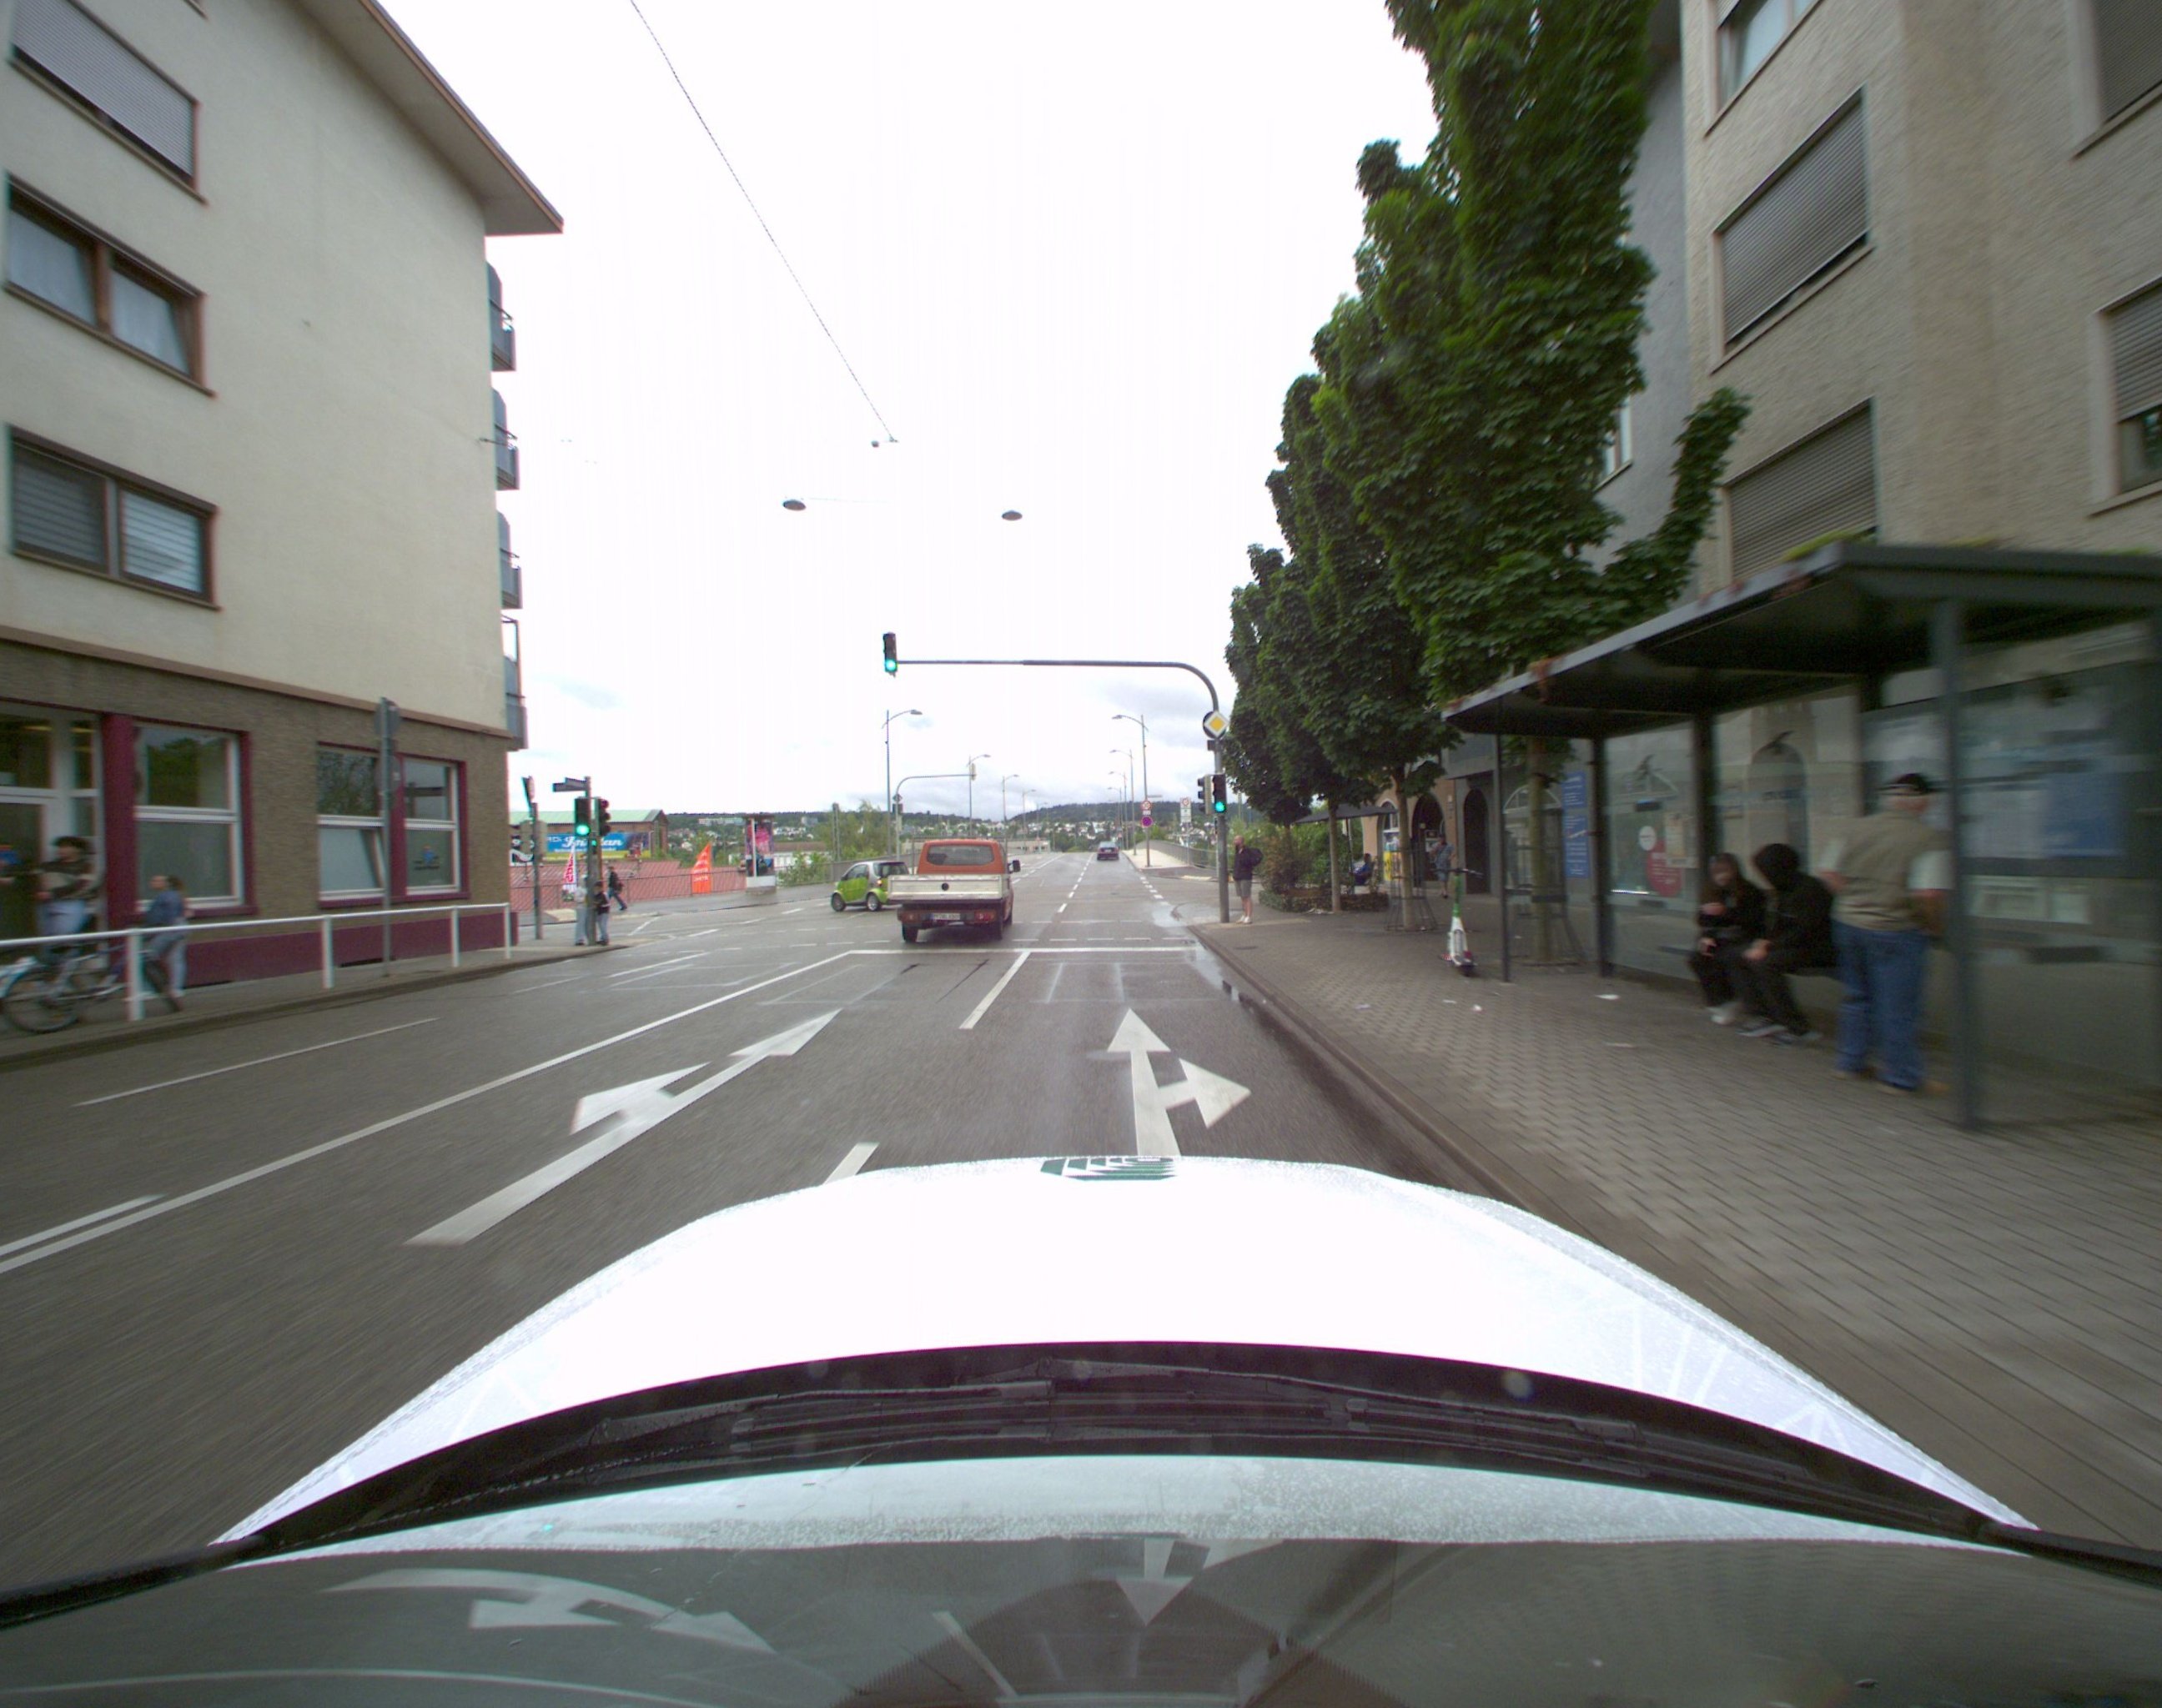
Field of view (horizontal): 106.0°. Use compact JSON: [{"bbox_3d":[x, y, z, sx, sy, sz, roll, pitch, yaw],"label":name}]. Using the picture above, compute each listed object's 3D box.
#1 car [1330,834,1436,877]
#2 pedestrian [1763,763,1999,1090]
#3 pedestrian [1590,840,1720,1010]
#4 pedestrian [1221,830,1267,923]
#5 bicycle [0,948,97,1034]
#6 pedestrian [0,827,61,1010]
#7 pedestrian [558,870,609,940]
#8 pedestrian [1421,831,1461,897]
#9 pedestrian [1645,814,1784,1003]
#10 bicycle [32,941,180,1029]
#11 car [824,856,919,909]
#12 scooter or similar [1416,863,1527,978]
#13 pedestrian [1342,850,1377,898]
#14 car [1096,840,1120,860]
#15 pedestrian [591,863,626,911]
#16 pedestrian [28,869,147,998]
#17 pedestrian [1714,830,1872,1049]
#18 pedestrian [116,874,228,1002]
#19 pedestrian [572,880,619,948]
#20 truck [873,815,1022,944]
[{"bbox_3d":[14.711,0.091,39.649,4.761,2.014,1.985,1,-1,-22],"label":"car"},{"bbox_3d":[4.469,0.386,4.605,0.616,1.699,0.657,-2,-1,5],"label":"pedestrian"},{"bbox_3d":[4.803,0.571,6.852,0.604,1.335,0.625,-2,-1,0],"label":"pedestrian"},{"bbox_3d":[3.329,0.453,16.677,0.730,1.841,0.631,-2,-1,0],"label":"pedestrian"},{"bbox_3d":[-11.057,1.432,8.308,0.263,0.783,1.422,-2,-1,2],"label":"bicycle"},{"bbox_3d":[-12.759,0.750,9.517,0.710,2.099,0.730,-2,-1,-2],"label":"pedestrian"},{"bbox_3d":[-10.797,1.102,17.690,0.640,1.458,0.661,-2,-1,0],"label":"pedestrian"},{"bbox_3d":[8.833,0.252,20.013,0.641,1.571,0.726,-2,-1,4],"label":"pedestrian"},{"bbox_3d":[4.804,0.395,6.210,0.532,1.350,0.596,-2,-1,0],"label":"pedestrian"},{"bbox_3d":[-10.719,1.417,8.993,0.263,0.783,1.111,-2,-1,2],"label":"bicycle"},{"bbox_3d":[-6.642,0.903,25.741,2.631,1.547,1.541,-3,-1,36],"label":"car"},{"bbox_3d":[4.381,0.698,9.253,0.509,1.172,1.550,-2,-1,2],"label":"scooter or similar"},{"bbox_3d":[7.092,0.513,20.781,0.662,1.189,0.557,-2,-1,0],"label":"pedestrian"},{"bbox_3d":[2.066,-0.295,63.276,1.747,1.479,4.001,-2,-1,2],"label":"car"},{"bbox_3d":[-18.052,1.243,31.124,1.076,1.757,1.052,-2,-1,-33],"label":"pedestrian"},{"bbox_3d":[-12.709,0.994,10.432,0.771,1.577,0.589,-2,-1,1],"label":"pedestrian"},{"bbox_3d":[4.834,0.557,5.558,0.562,1.396,0.514,-2,-1,-2],"label":"pedestrian"},{"bbox_3d":[-11.686,1.051,10.489,0.573,1.553,0.739,-2,-1,-1],"label":"pedestrian"},{"bbox_3d":[-10.322,1.261,17.323,0.542,1.388,0.650,-2,-1,3],"label":"pedestrian"},{"bbox_3d":[-2.493,0.476,16.725,2.395,2.129,5.308,-2,-1,-3],"label":"truck"}]
